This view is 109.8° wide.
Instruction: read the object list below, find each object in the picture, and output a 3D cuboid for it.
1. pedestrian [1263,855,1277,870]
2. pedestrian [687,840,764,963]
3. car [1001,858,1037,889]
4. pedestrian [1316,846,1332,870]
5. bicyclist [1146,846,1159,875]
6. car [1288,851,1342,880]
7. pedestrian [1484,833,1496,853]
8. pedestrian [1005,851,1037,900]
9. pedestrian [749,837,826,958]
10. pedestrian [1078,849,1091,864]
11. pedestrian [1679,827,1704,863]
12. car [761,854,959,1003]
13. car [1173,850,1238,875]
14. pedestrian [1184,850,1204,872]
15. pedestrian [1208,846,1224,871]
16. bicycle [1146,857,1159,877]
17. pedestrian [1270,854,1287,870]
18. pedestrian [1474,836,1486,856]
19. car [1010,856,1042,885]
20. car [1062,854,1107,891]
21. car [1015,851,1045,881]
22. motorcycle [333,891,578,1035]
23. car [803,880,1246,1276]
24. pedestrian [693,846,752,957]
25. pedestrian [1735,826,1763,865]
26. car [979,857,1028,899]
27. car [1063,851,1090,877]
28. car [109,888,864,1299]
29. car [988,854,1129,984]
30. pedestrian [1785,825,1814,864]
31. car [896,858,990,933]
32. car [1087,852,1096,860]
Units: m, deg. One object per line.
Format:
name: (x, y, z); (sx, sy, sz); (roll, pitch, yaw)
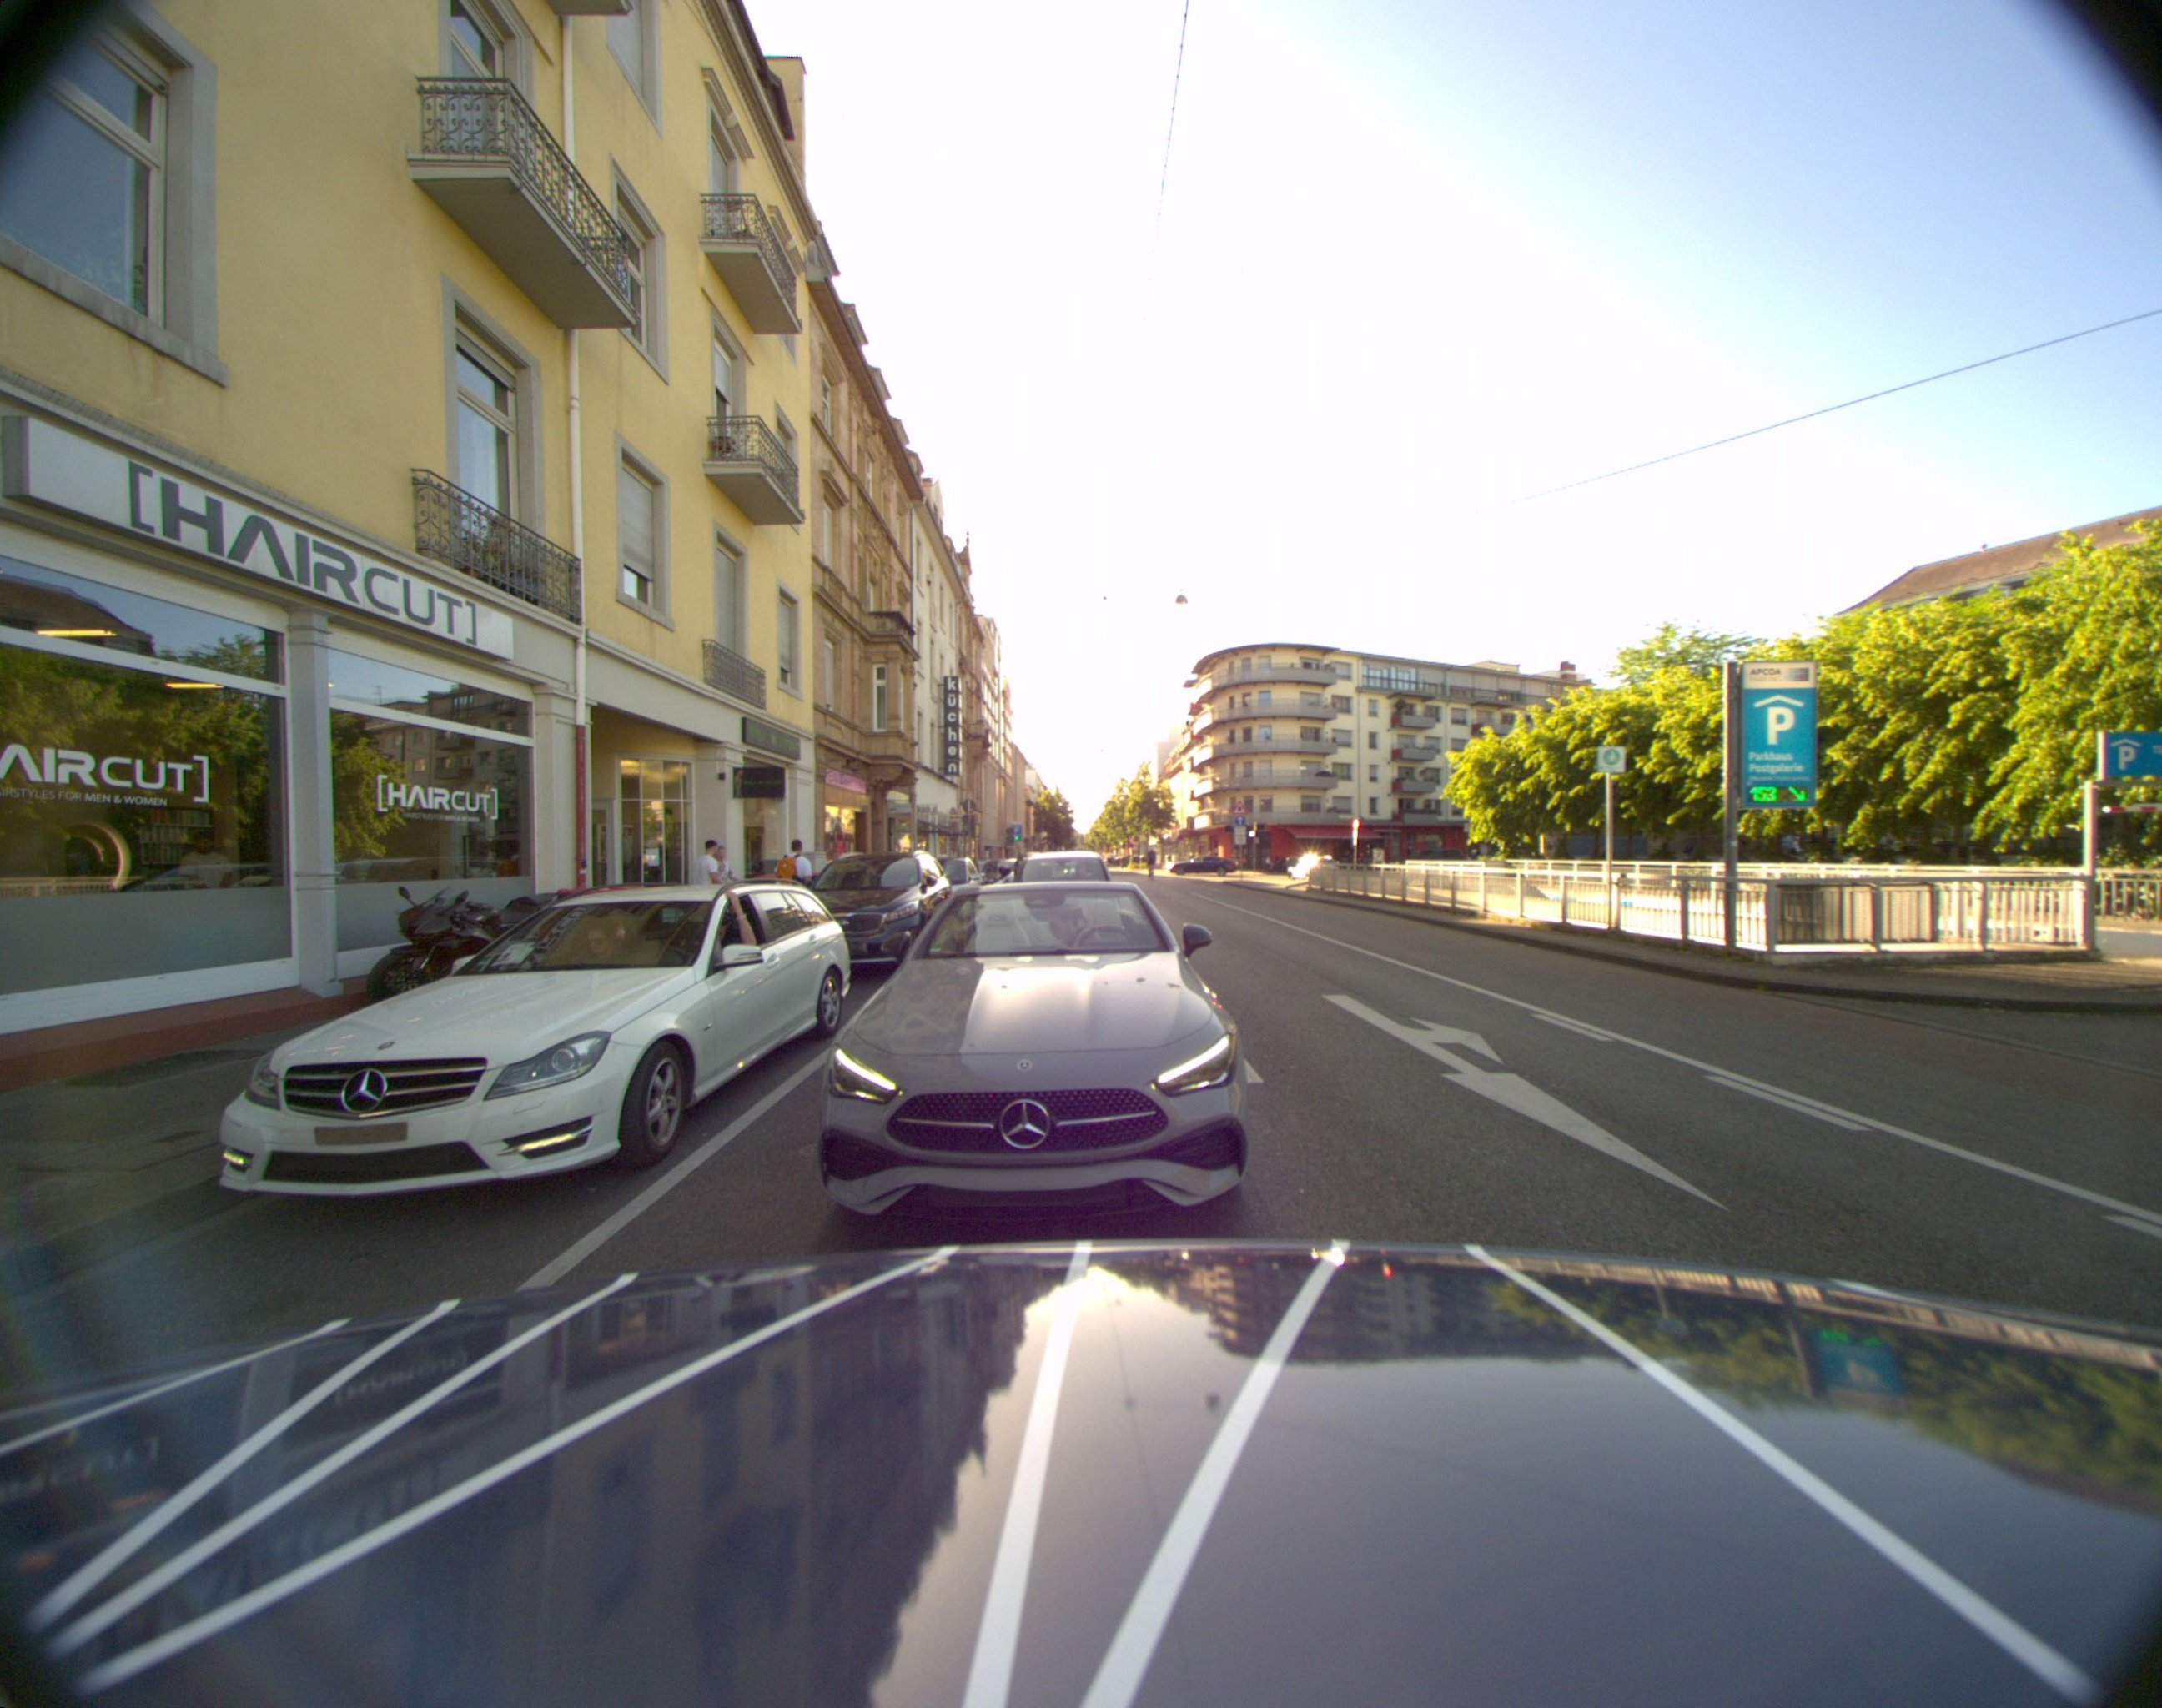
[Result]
pedestrian: (14.923, 0.662, 60.048); (0.780, 1.191, 0.884); (-2, 1, -10)
pedestrian: (-5.660, 0.728, 12.095); (0.975, 1.866, 0.534); (-3, 1, -31)
car: (-2.953, 0.897, 36.689); (1.461, 1.310, 3.362); (-2, 1, -1)
pedestrian: (18.286, 0.330, 57.149); (0.960, 1.739, 1.063); (-2, 1, 29)
bicyclist: (4.259, 0.363, 45.274); (0.703, 1.700, 0.810); (1, 1, -1)
car: (13.461, 0.601, 43.907); (1.638, 1.521, 3.906); (-2, 1, -4)
pedestrian: (38.364, -1.004, 71.248); (0.747, 1.832, 0.684); (-2, 1, 1)
pedestrian: (-2.197, 0.773, 27.719); (0.836, 1.709, 0.821); (-2, 1, 19)
pedestrian: (-4.616, 0.647, 12.015); (0.811, 1.812, 0.982); (-2, 2, -5)
pedestrian: (0.448, 0.284, 96.991); (1.219, 1.826, 1.205); (-1, 1, 36)
pedestrian: (31.745, -0.459, 39.500); (0.748, 1.832, 0.683); (-3, 1, -21)
car: (-3.010, 0.888, 11.346); (1.806, 1.680, 4.408); (-2, 1, -3)
car: (8.619, 0.571, 52.394); (4.242, 1.521, 1.678); (-2, 1, 14)
pedestrian: (8.879, 0.551, 59.568); (1.066, 1.709, 1.083); (-1, 1, 43)
pedestrian: (10.958, 0.367, 61.640); (0.992, 1.908, 0.789); (-3, 1, -31)
bicycle: (4.245, 0.766, 45.059); (0.617, 1.156, 1.957); (1, 1, 1)
pedestrian: (15.430, 0.650, 59.389); (0.937, 1.191, 0.832); (-3, 1, -24)
pedestrian: (36.228, -0.717, 69.022); (0.685, 1.832, 0.746); (-3, 1, -37)
car: (-2.941, 0.863, 40.958); (1.461, 1.391, 3.362); (-2, 1, -1)
car: (0.107, 0.782, 33.482); (1.695, 1.437, 3.575); (-2, 1, -3)
car: (-3.152, 0.713, 47.556); (1.695, 1.670, 3.880); (-2, 1, -3)
motorcycle: (-6.252, 1.022, 7.797); (0.735, 1.124, 2.109); (2, 1, 1)
car: (-0.279, 0.996, 5.366); (1.769, 1.360, 4.471); (-2, 1, -2)
pedestrian: (-6.146, 0.793, 13.068); (0.630, 1.826, 0.770); (-2, 1, -7)
pedestrian: (32.223, -0.393, 36.678); (0.748, 1.852, 0.683); (-2, 1, -13)
car: (-3.024, 0.900, 30.320); (1.695, 1.482, 3.796); (-2, 1, -3)
car: (-0.306, 0.647, 50.828); (1.695, 1.635, 3.599); (-2, 1, -1)
car: (-3.023, 1.071, 5.255); (1.672, 1.364, 4.377); (-2, 1, 1)
car: (-0.363, 0.892, 12.766); (1.866, 1.658, 4.706); (-2, 1, -2)
pedestrian: (34.299, -0.458, 36.289); (0.748, 1.832, 0.683); (-2, 1, -13)
car: (-3.179, 0.904, 17.997); (1.583, 1.514, 2.998); (-2, 1, 1)
car: (2.374, 0.472, 172.039); (1.836, 1.831, 3.886); (1, 1, -2)
